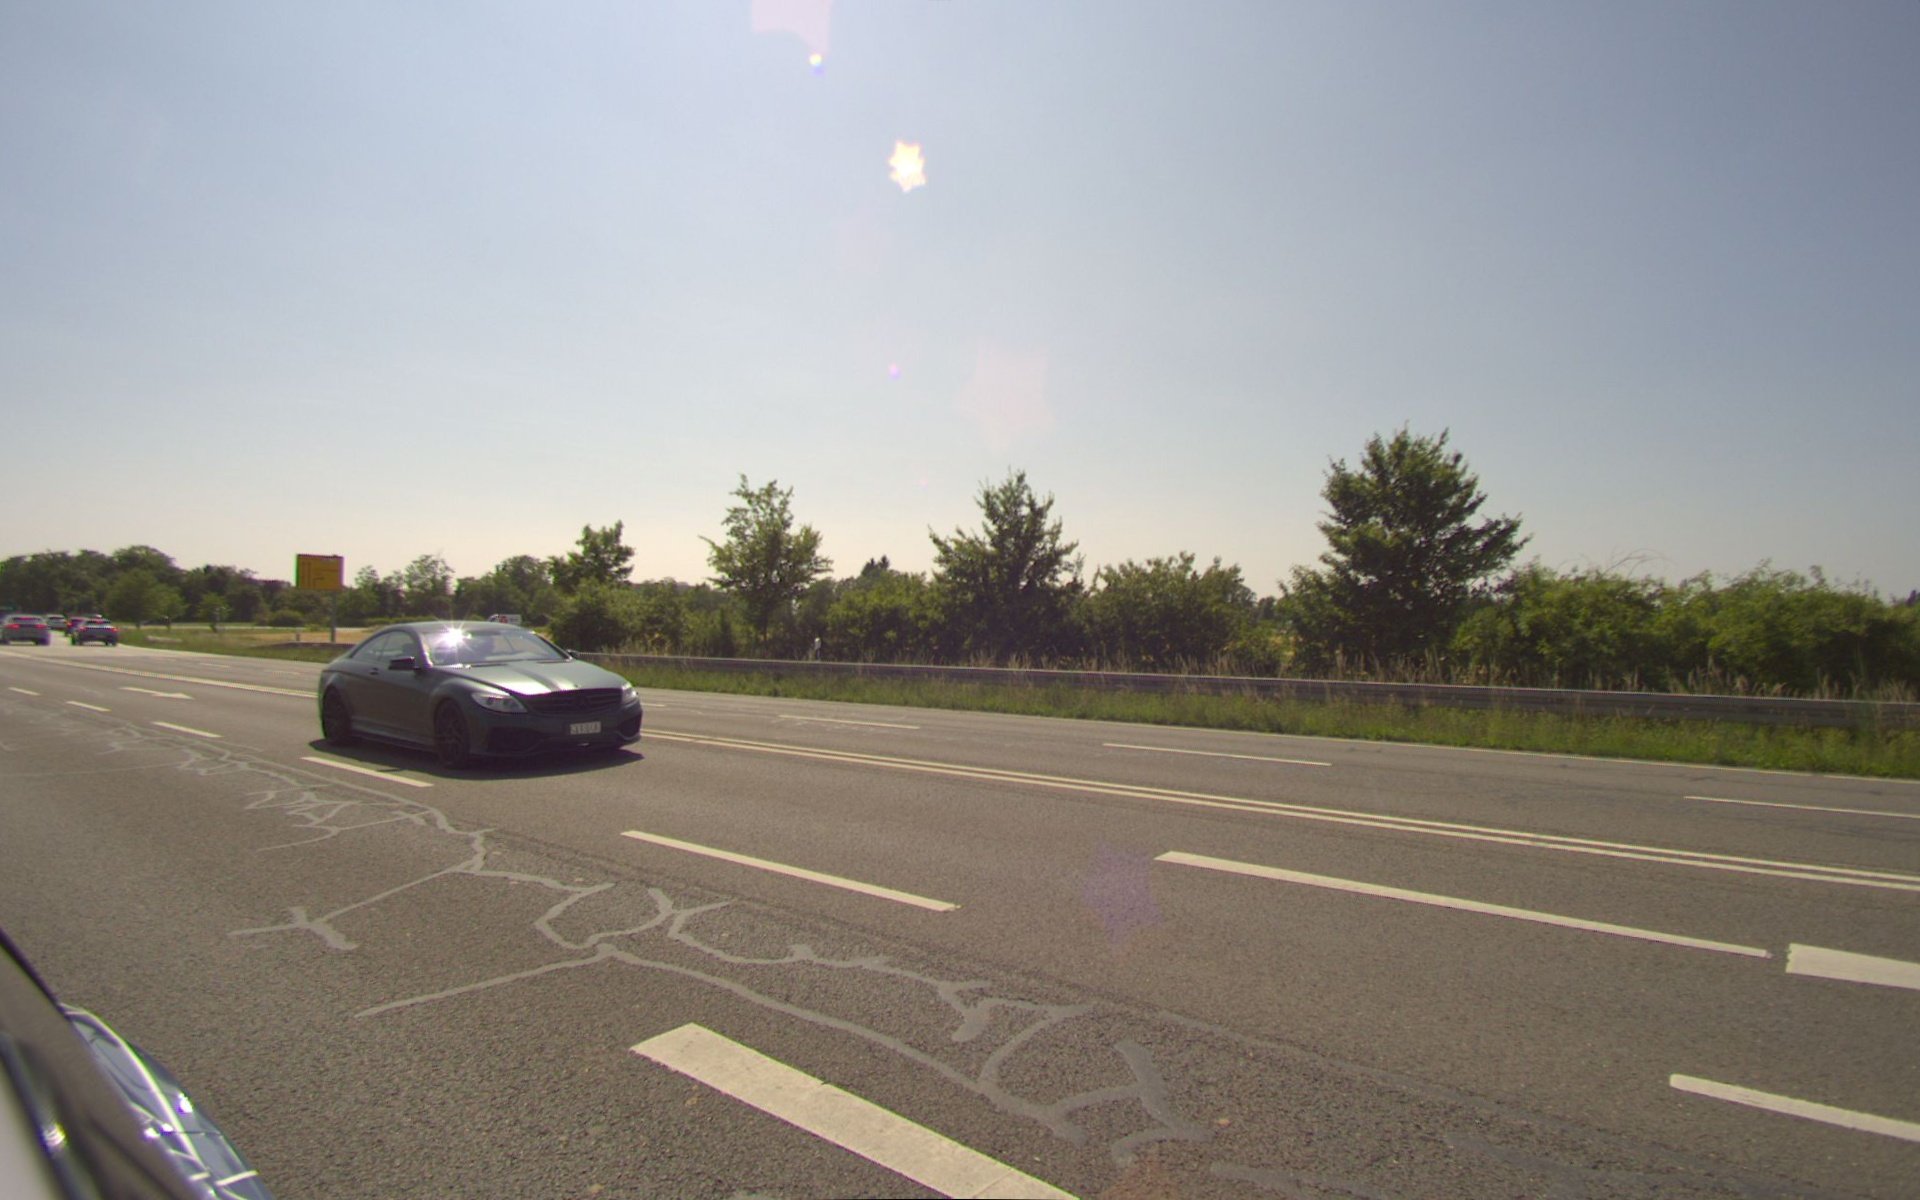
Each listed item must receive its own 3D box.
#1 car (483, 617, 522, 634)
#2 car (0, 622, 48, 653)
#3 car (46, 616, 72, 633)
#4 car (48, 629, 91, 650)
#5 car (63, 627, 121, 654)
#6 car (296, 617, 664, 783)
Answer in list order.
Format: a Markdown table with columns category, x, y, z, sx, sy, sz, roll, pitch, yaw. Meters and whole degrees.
| category | x | y | z | sx | sy | sz | roll | pitch | yaw |
| --- | --- | --- | --- | --- | --- | --- | --- | --- | --- |
| car | -84.824 | 4.696 | 187.660 | 6.285 | 2.931 | 2.002 | 0 | 0 | -42 |
| car | -51.938 | 2.048 | 55.666 | 4.871 | 1.599 | 1.822 | -1 | -5 | 40 |
| car | -92.444 | 2.551 | 103.793 | 1.646 | 1.689 | 4.465 | 4 | -4 | -45 |
| car | -71.744 | 3.197 | 81.513 | 4.308 | 1.574 | 1.973 | 0 | -3 | 40 |
| car | -50.614 | 2.343 | 58.996 | 4.122 | 1.519 | 1.801 | -1 | -4 | 39 |
| car | -5.484 | 0.933 | 11.237 | 4.872 | 1.461 | 1.793 | -1 | -1 | 39 |
